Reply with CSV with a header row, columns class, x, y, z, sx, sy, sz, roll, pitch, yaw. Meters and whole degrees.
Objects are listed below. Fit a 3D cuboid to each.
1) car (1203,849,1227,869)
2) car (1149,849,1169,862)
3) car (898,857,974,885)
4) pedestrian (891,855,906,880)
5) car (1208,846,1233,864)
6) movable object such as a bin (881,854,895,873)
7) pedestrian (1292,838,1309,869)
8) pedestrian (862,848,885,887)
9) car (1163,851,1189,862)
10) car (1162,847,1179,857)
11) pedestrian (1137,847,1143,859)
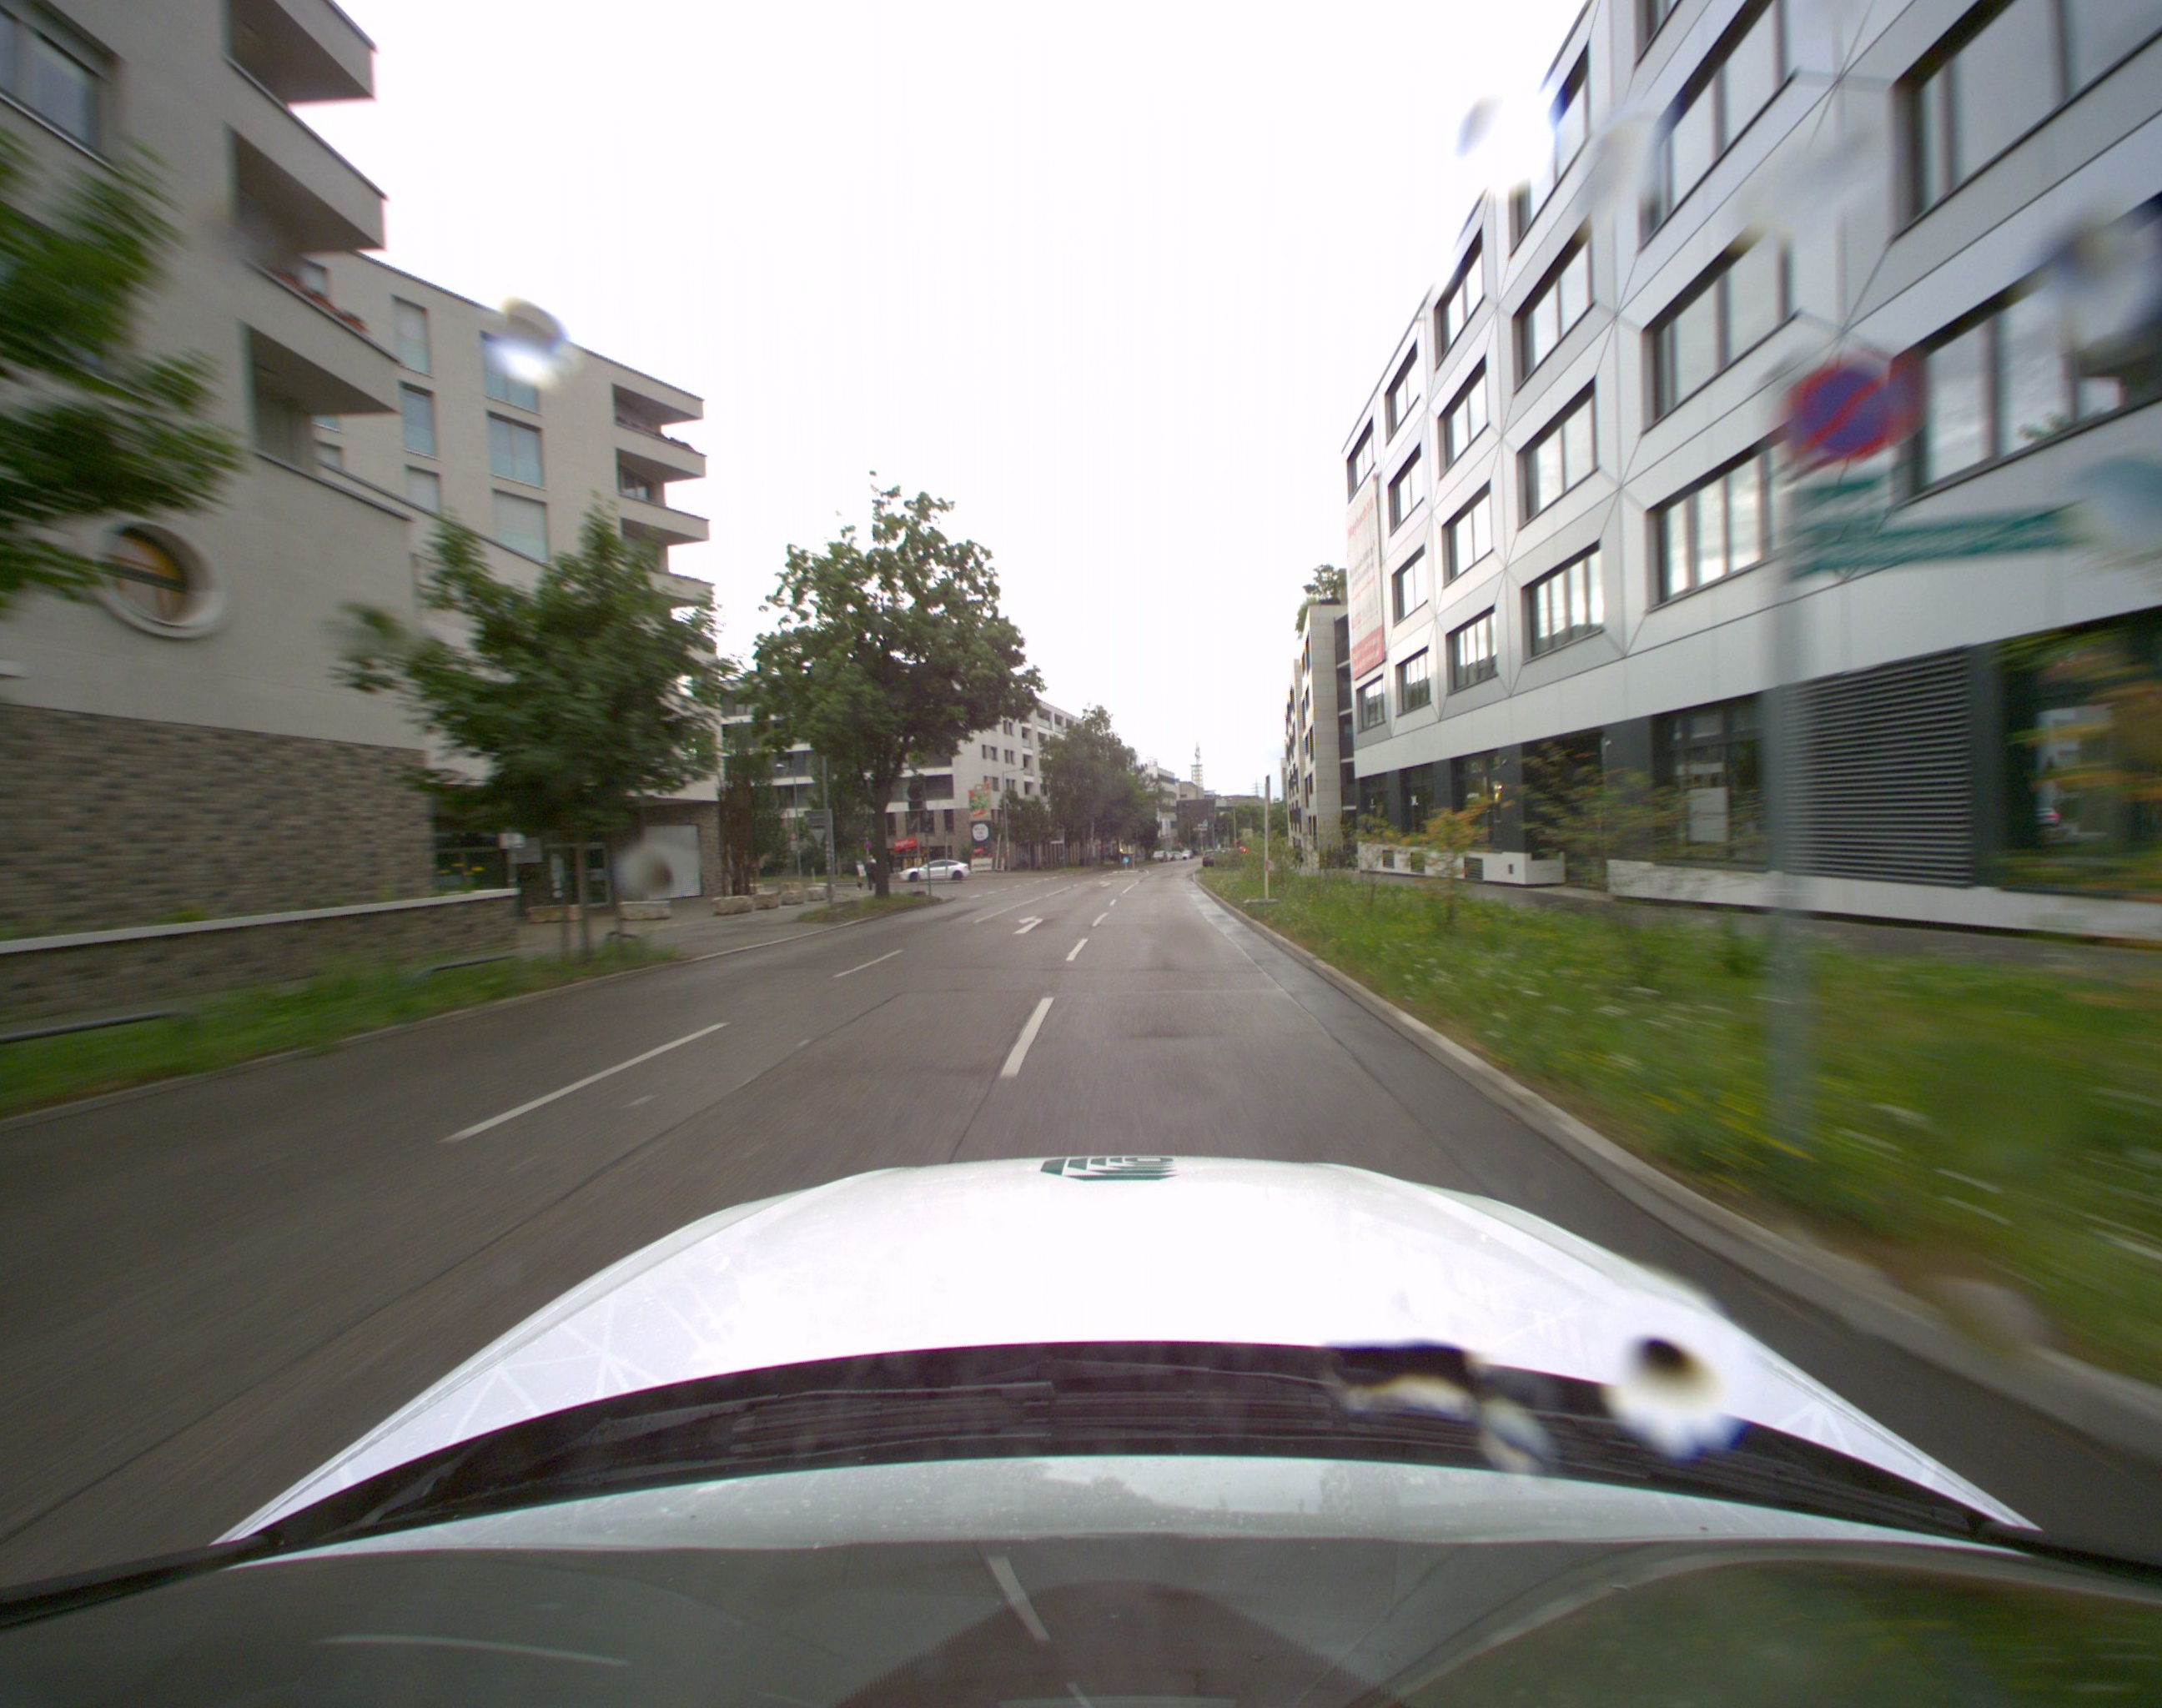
class,x,y,z,sx,sy,sz,roll,pitch,yaw
car,11.117,0.369,67.606,1.534,1.478,3.675,-2,1,15
car,11.054,0.151,114.947,2.063,1.609,4.702,-3,0,13
car,-9.868,1.108,55.379,4.820,1.660,2.050,-2,0,-19
pedestrian,-15.207,1.149,67.869,0.878,2.013,1.119,-1,1,5
car,12.512,0.104,72.732,1.795,1.484,4.512,-2,0,14
movable object such as a bin,-14.070,0.690,59.479,0.711,1.362,0.824,-2,0,7
pedestrian,13.042,-0.047,48.428,0.818,1.796,0.780,-3,-1,8
pedestrian,-11.150,0.719,43.786,1.054,2.014,1.097,-2,-1,-7
car,15.251,0.326,131.066,3.967,1.577,2.001,-2,1,2
car,13.700,-0.337,124.750,1.783,1.516,4.263,-2,0,16
pedestrian,8.488,-0.105,116.678,0.704,1.683,0.959,-2,0,10
